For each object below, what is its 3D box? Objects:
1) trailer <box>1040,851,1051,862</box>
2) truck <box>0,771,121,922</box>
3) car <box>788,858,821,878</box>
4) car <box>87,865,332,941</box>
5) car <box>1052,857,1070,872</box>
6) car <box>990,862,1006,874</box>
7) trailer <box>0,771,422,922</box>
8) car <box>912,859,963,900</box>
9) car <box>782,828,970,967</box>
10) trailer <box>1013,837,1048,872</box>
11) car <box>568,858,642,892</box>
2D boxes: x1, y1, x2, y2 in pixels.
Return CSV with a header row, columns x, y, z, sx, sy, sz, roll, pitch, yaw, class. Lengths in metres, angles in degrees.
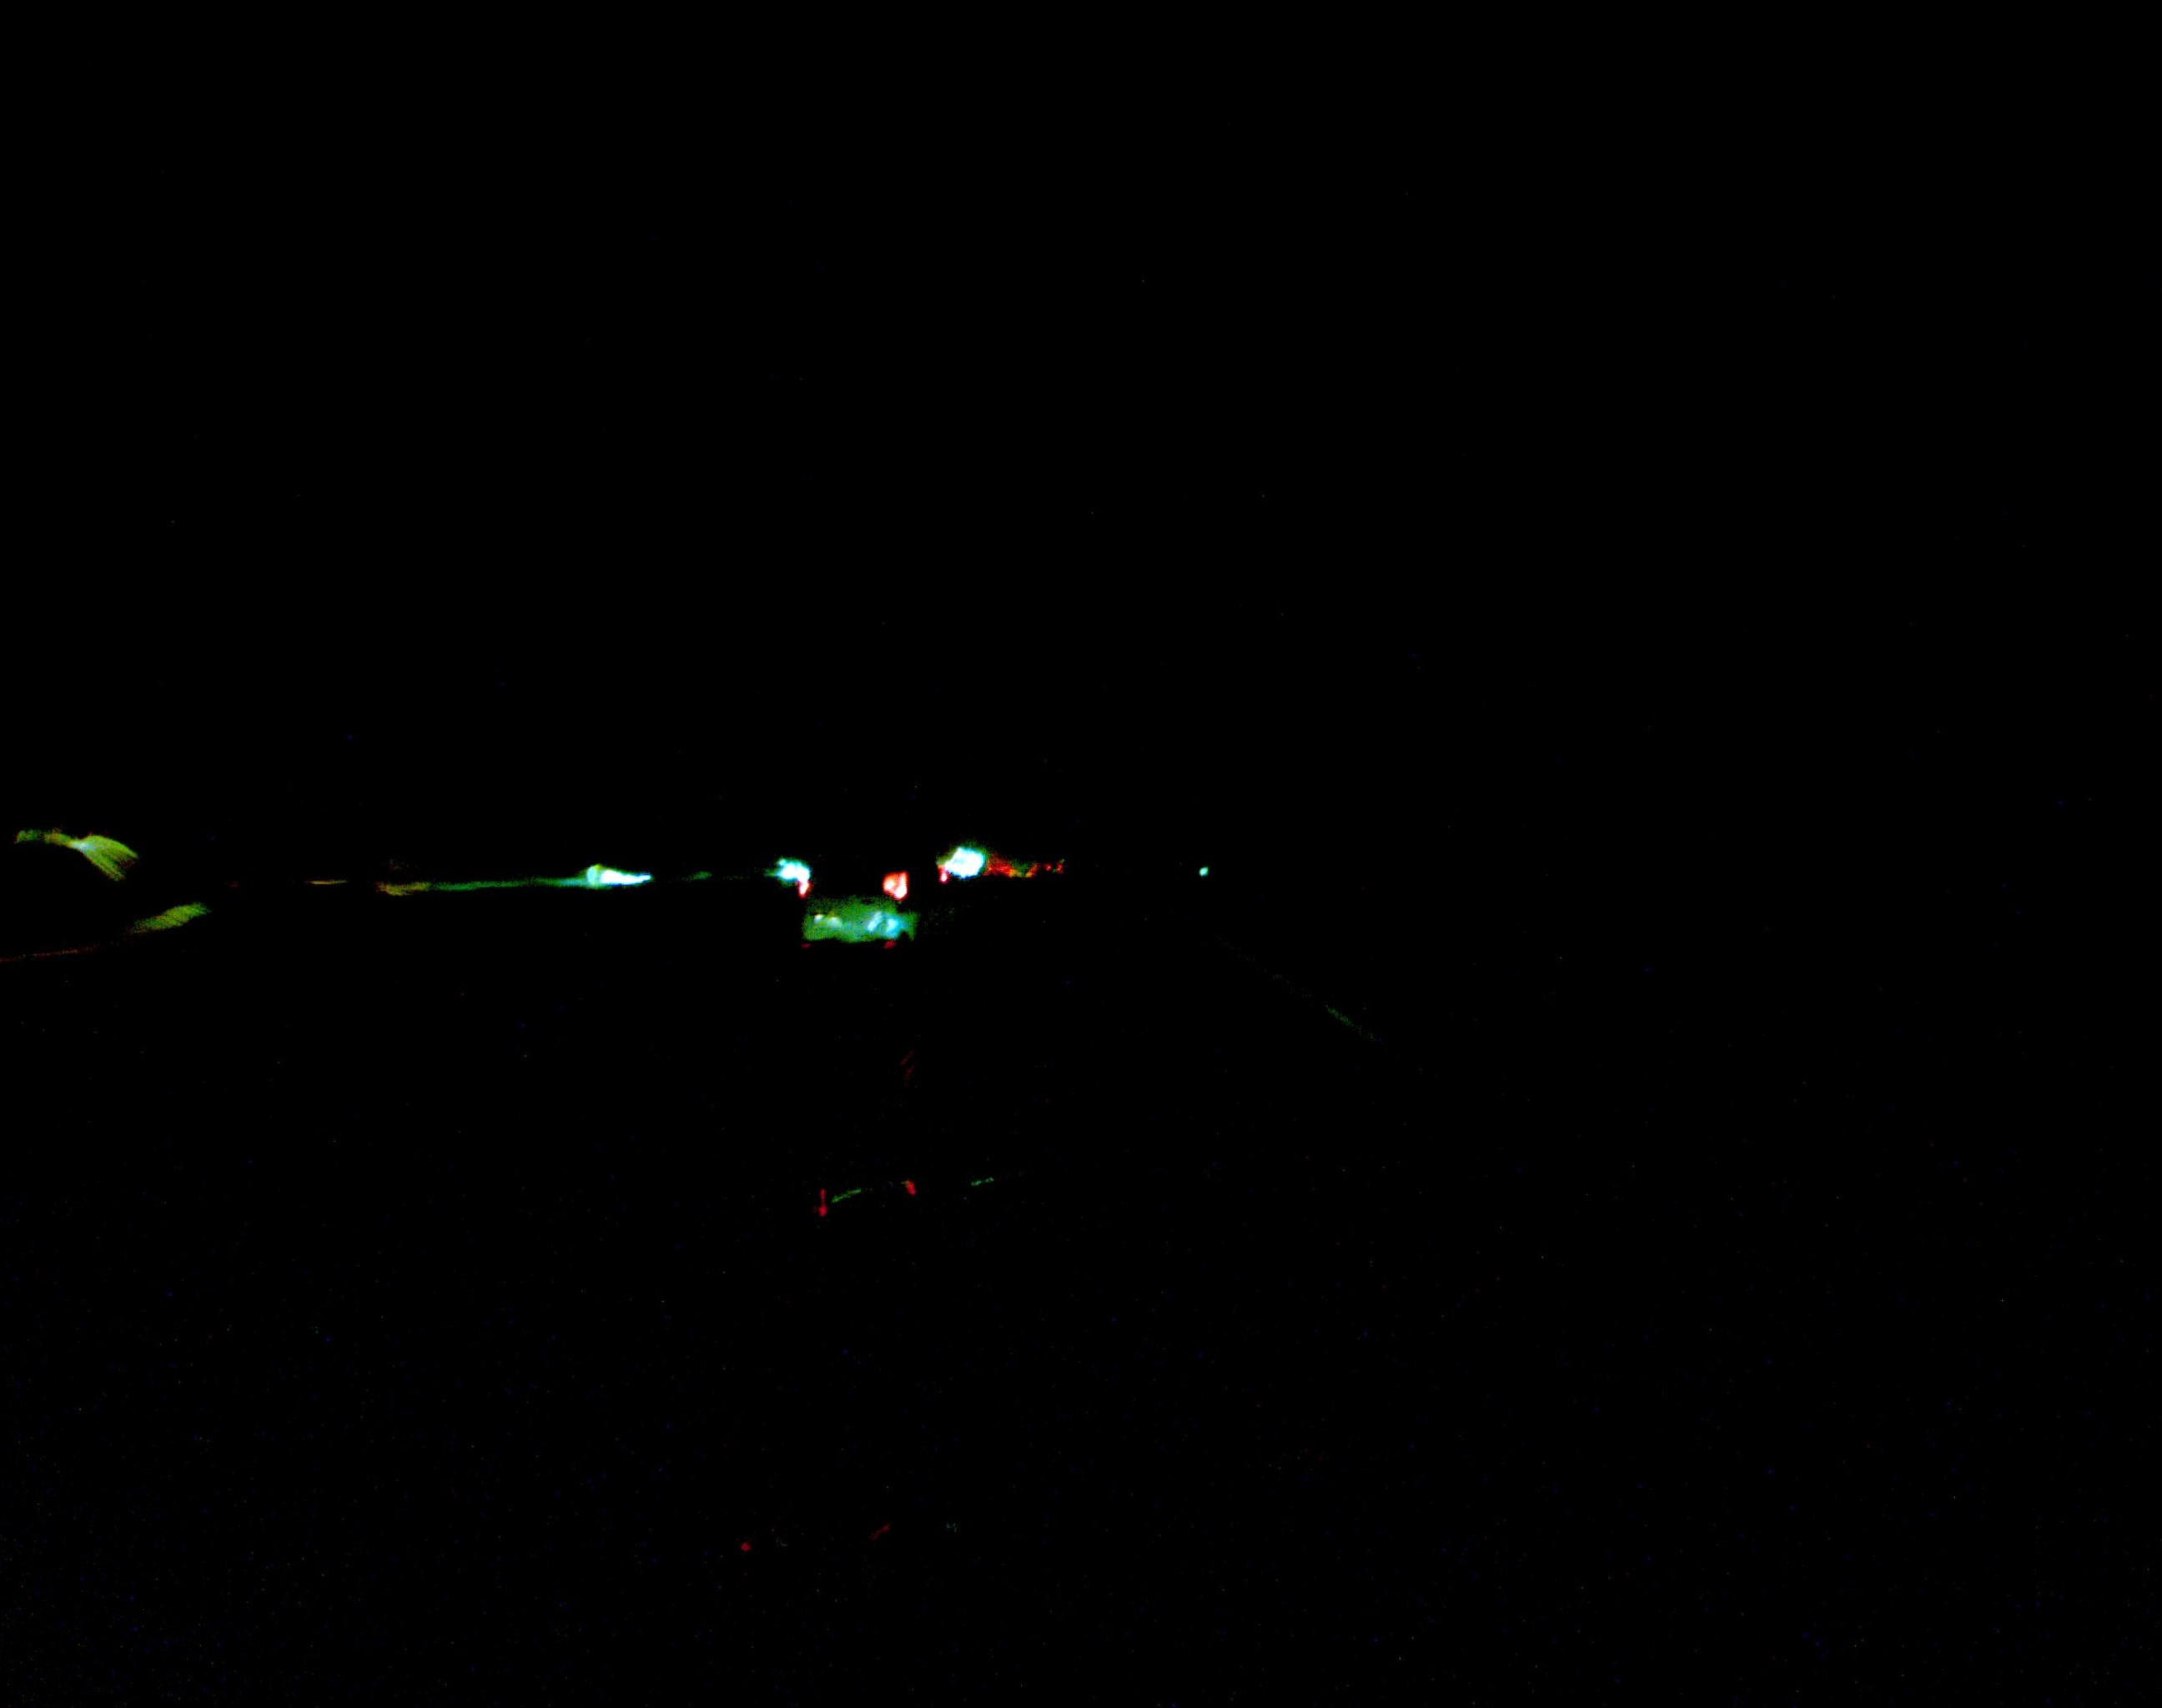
x,y,z,sx,sy,sz,roll,pitch,yaw,class
-9.553,0.711,217.167,2.681,2.700,12.844,2,-1,-3,trailer
-30.759,-0.254,21.646,2.718,4.090,6.269,2,-1,1,truck
-29.949,1.533,88.413,1.987,2.014,4.405,2,-1,1,car
-22.686,1.203,21.485,1.986,1.757,4.001,2,-1,1,car
-2.556,1.365,104.632,1.985,1.818,4.003,2,-1,3,car
-11.438,1.901,112.543,1.989,1.618,3.995,2,-1,-3,car
-30.609,-0.160,28.377,2.718,4.090,14.863,2,-1,1,trailer
-7.534,1.302,43.162,1.988,2.014,4.564,2,-1,-2,car
-3.366,0.672,14.530,1.987,2.014,5.017,-1,-1,1,car
-5.744,0.168,95.410,2.581,3.725,13.659,2,-1,2,trailer
-30.111,1.289,51.710,1.987,2.014,4.405,2,-1,1,car
